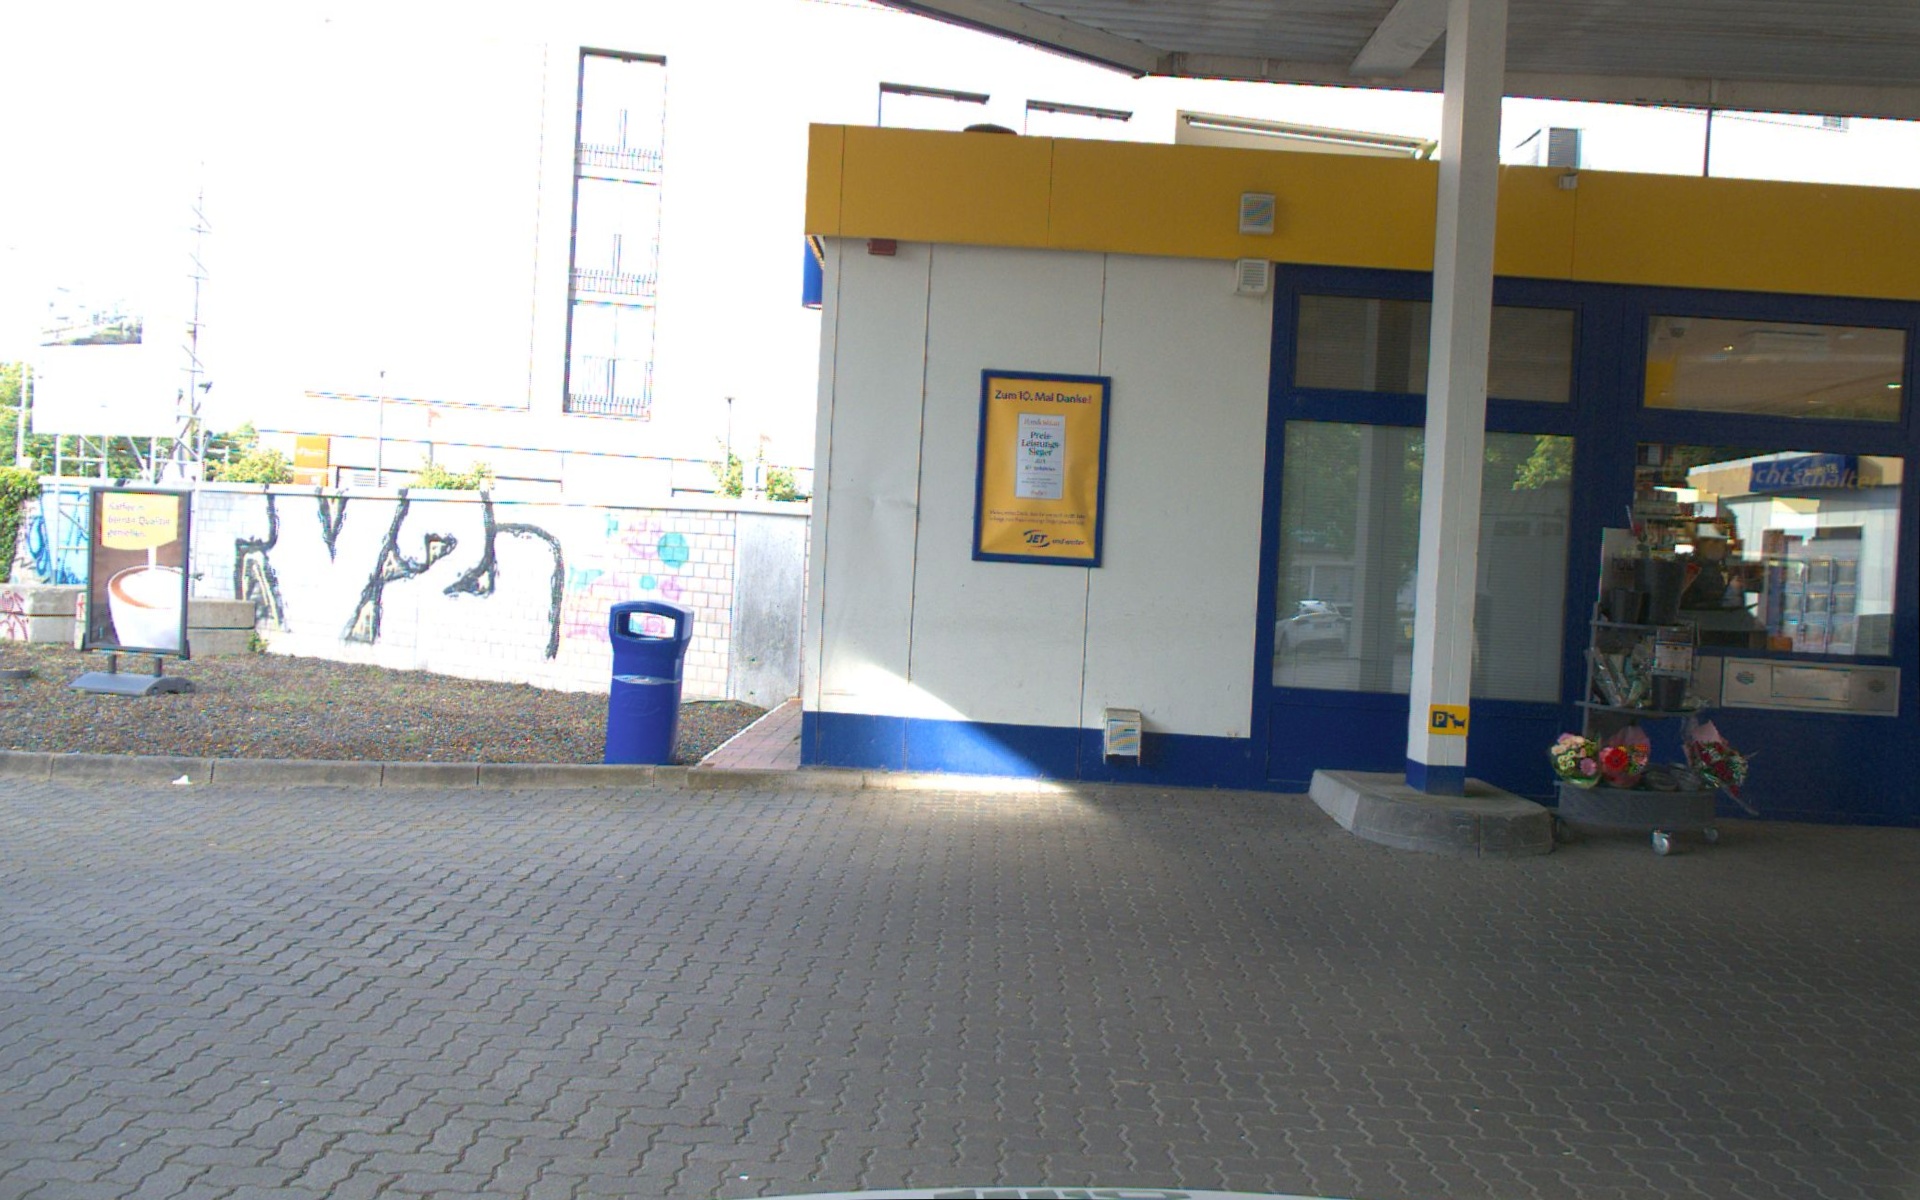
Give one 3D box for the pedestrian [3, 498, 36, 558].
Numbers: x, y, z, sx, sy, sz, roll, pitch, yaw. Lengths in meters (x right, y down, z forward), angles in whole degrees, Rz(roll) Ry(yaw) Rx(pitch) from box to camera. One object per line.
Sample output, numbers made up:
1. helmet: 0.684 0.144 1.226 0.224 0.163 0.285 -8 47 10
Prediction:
1. pedestrian: -33.452 -2.551 58.822 0.793 2.049 0.847 1 -1 -17
